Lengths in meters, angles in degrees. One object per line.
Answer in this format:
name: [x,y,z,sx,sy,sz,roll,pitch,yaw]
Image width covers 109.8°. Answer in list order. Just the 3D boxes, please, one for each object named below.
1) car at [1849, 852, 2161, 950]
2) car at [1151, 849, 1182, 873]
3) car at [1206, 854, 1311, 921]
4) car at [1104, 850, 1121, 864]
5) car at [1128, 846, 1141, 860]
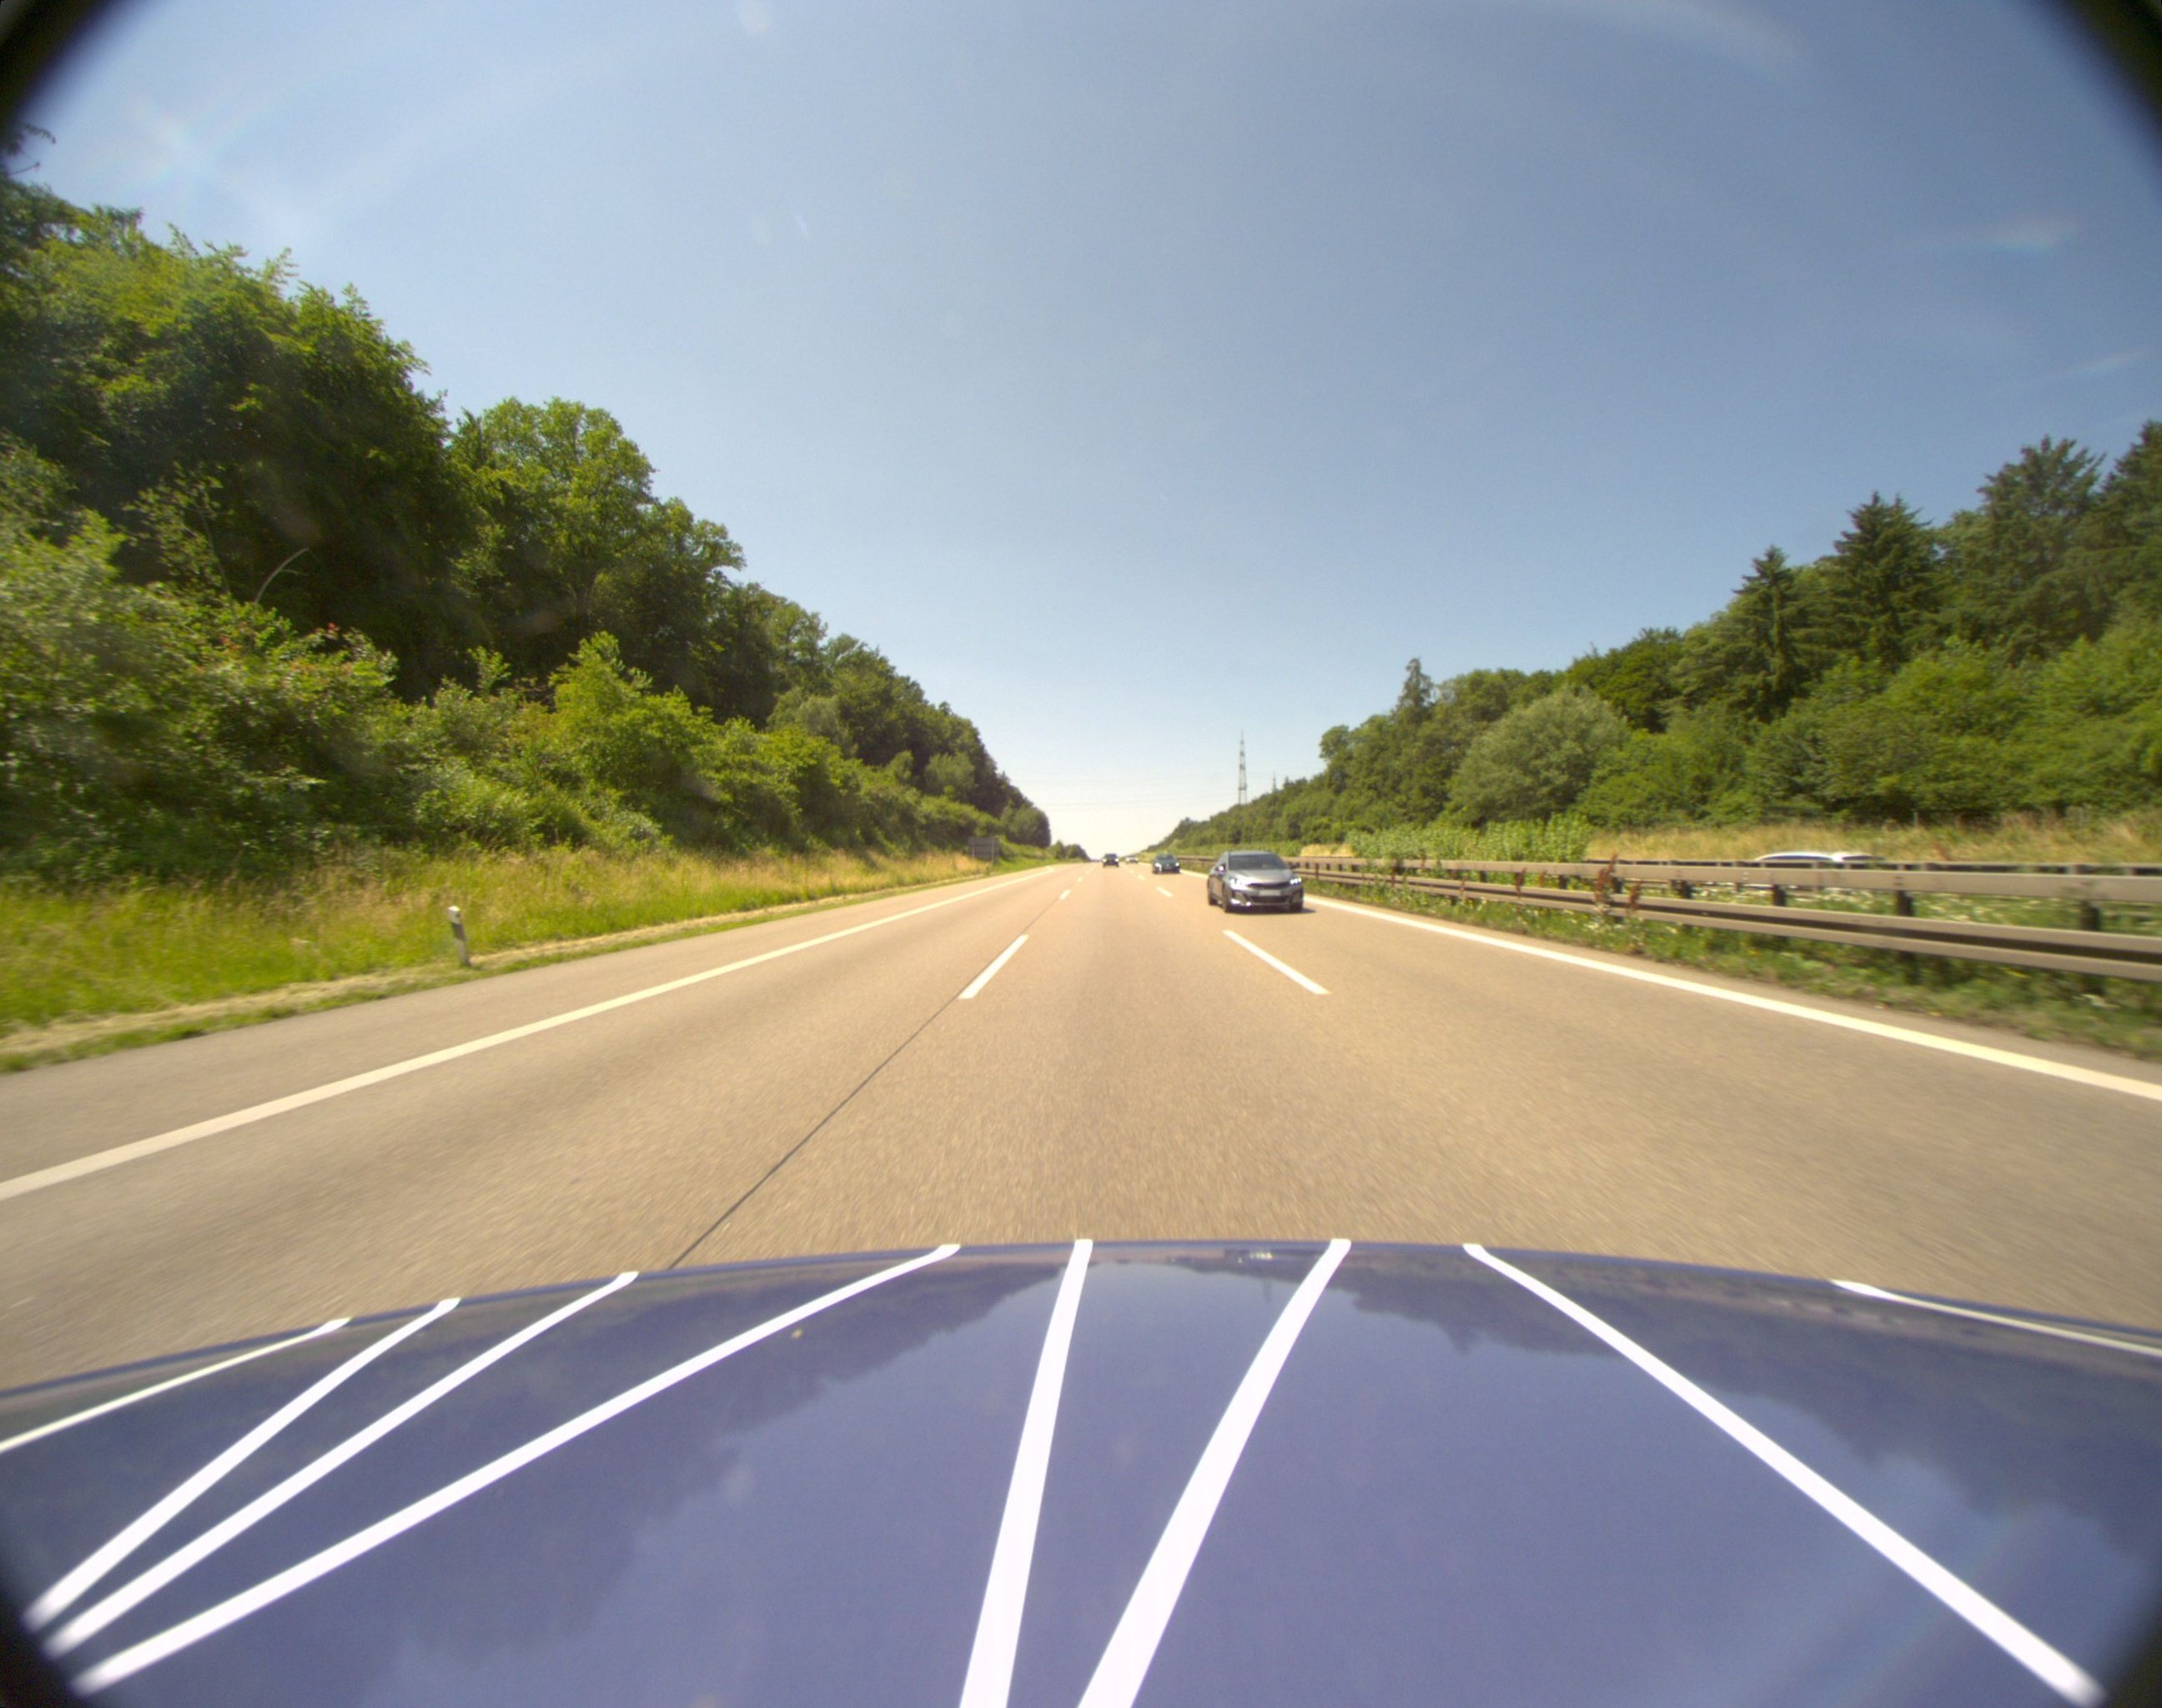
car: [18.918,0.857,15.822,1.814,1.718,4.000,-2,0,1]
car: [5.989,0.468,53.640,1.741,1.610,3.943,-2,0,0]
car: [4.263,0.745,18.865,1.768,1.400,3.999,-2,0,2]
car: [3.663,0.357,89.033,1.788,1.550,3.943,-2,0,0]
car: [8.596,-0.162,121.677,1.875,2.002,4.000,-2,0,1]
